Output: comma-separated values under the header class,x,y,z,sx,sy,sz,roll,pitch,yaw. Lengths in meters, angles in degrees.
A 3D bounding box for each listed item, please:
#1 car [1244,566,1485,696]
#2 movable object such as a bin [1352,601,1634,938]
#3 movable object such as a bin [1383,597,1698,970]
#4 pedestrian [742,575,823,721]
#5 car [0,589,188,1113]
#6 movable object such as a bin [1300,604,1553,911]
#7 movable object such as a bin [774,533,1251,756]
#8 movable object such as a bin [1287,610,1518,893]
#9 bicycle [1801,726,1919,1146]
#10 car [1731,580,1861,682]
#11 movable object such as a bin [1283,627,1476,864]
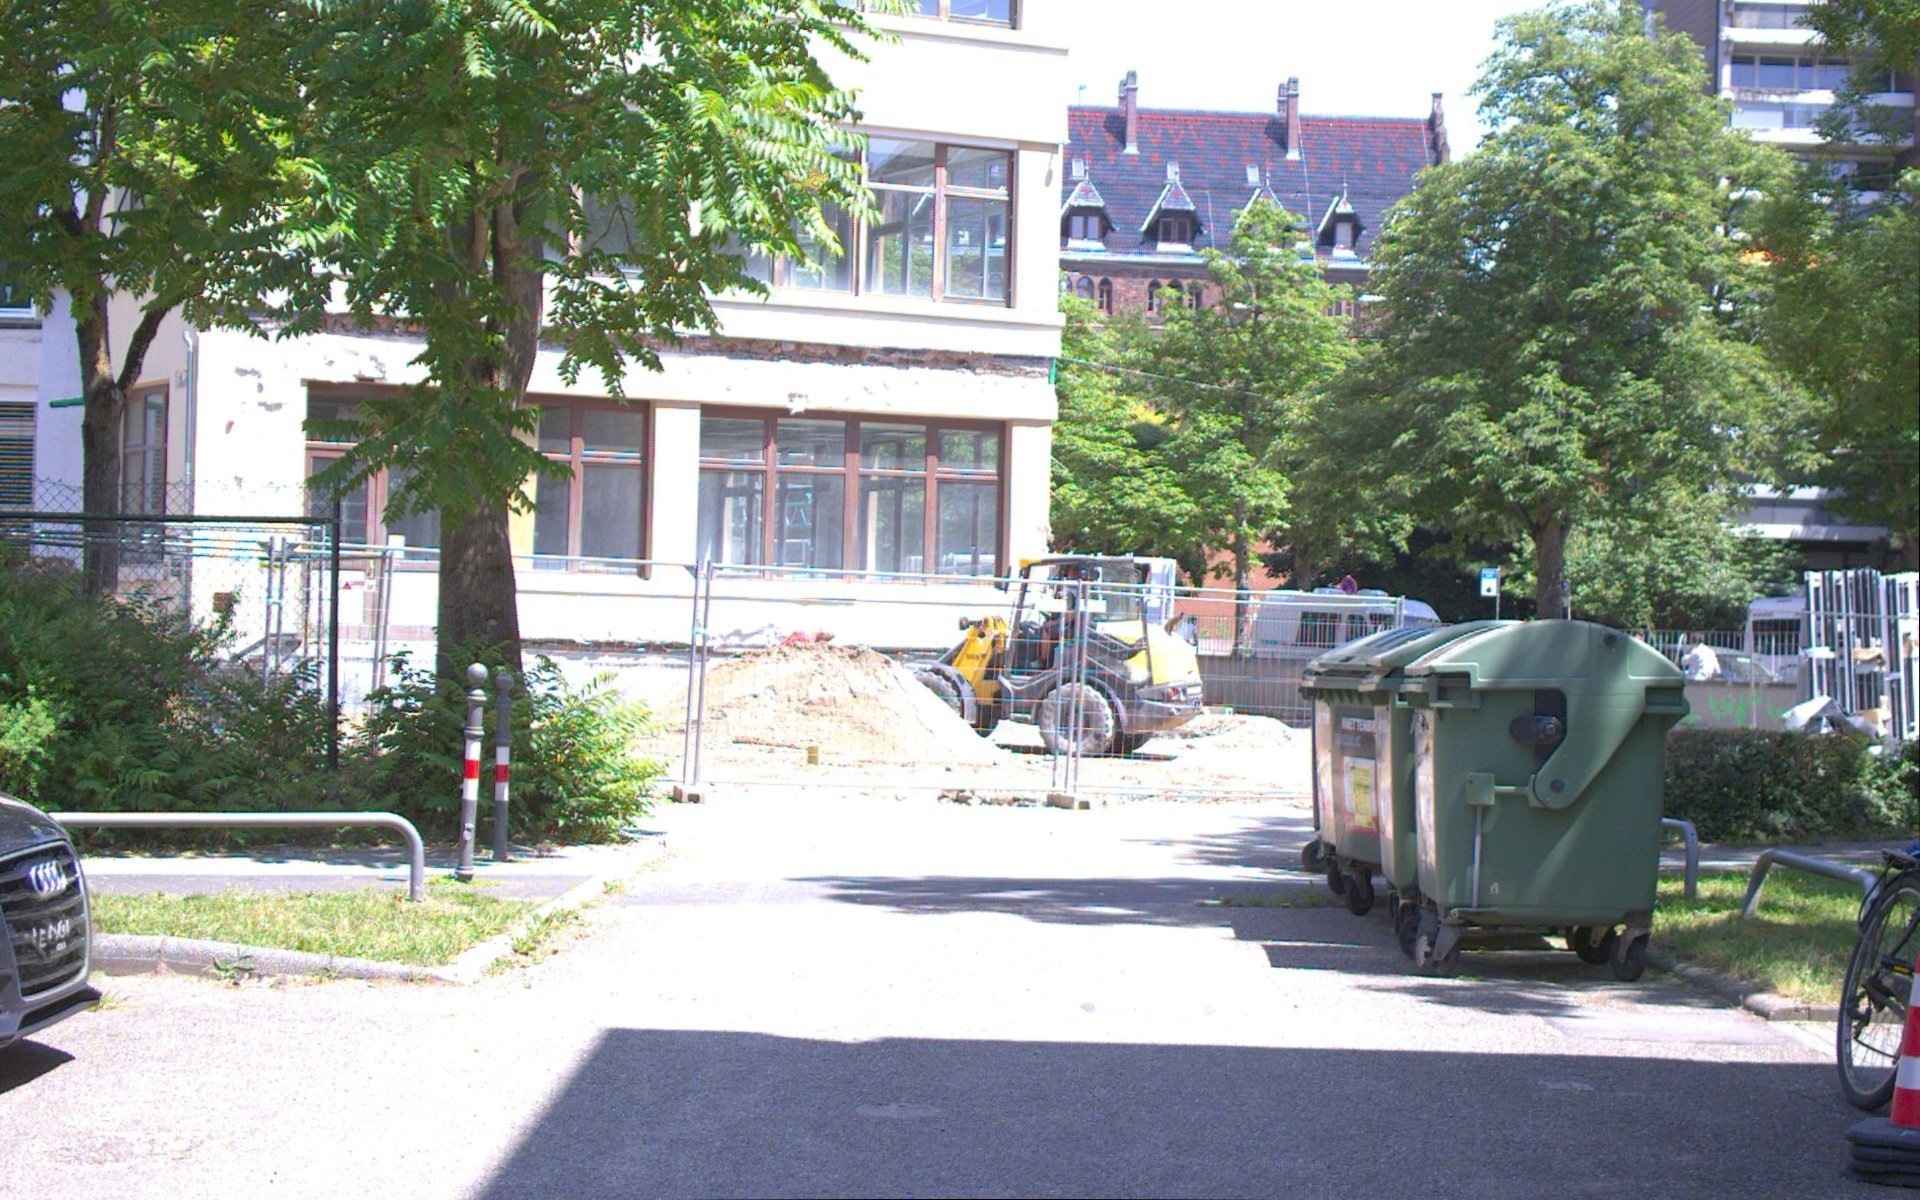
class,x,y,z,sx,sy,sz,roll,pitch,yaw
car,7.863,0.594,67.361,1.993,2.408,5.244,2,-1,-29
movable object such as a bin,2.415,0.751,15.766,1.075,1.453,1.377,1,-1,1
movable object such as a bin,2.387,0.734,14.323,1.075,1.453,1.377,1,-1,1
pedestrian,-2.294,0.620,44.328,0.914,1.840,0.986,1,-1,-8
car,-4.688,0.616,9.839,4.430,1.375,2.023,1,-1,3
movable object such as a bin,2.314,0.765,17.239,1.075,1.453,1.377,1,-1,1
movable object such as a bin,0.642,0.531,43.295,5.412,2.456,2.364,3,0,29
movable object such as a bin,2.379,0.797,18.660,1.075,1.453,1.377,1,-1,1
bicycle,2.802,0.931,9.690,0.405,1.098,1.826,1,-1,0
car,19.291,0.734,79.189,2.187,2.250,4.863,1,-1,22
movable object such as a bin,2.684,0.917,22.163,1.075,1.453,1.377,1,-1,1
